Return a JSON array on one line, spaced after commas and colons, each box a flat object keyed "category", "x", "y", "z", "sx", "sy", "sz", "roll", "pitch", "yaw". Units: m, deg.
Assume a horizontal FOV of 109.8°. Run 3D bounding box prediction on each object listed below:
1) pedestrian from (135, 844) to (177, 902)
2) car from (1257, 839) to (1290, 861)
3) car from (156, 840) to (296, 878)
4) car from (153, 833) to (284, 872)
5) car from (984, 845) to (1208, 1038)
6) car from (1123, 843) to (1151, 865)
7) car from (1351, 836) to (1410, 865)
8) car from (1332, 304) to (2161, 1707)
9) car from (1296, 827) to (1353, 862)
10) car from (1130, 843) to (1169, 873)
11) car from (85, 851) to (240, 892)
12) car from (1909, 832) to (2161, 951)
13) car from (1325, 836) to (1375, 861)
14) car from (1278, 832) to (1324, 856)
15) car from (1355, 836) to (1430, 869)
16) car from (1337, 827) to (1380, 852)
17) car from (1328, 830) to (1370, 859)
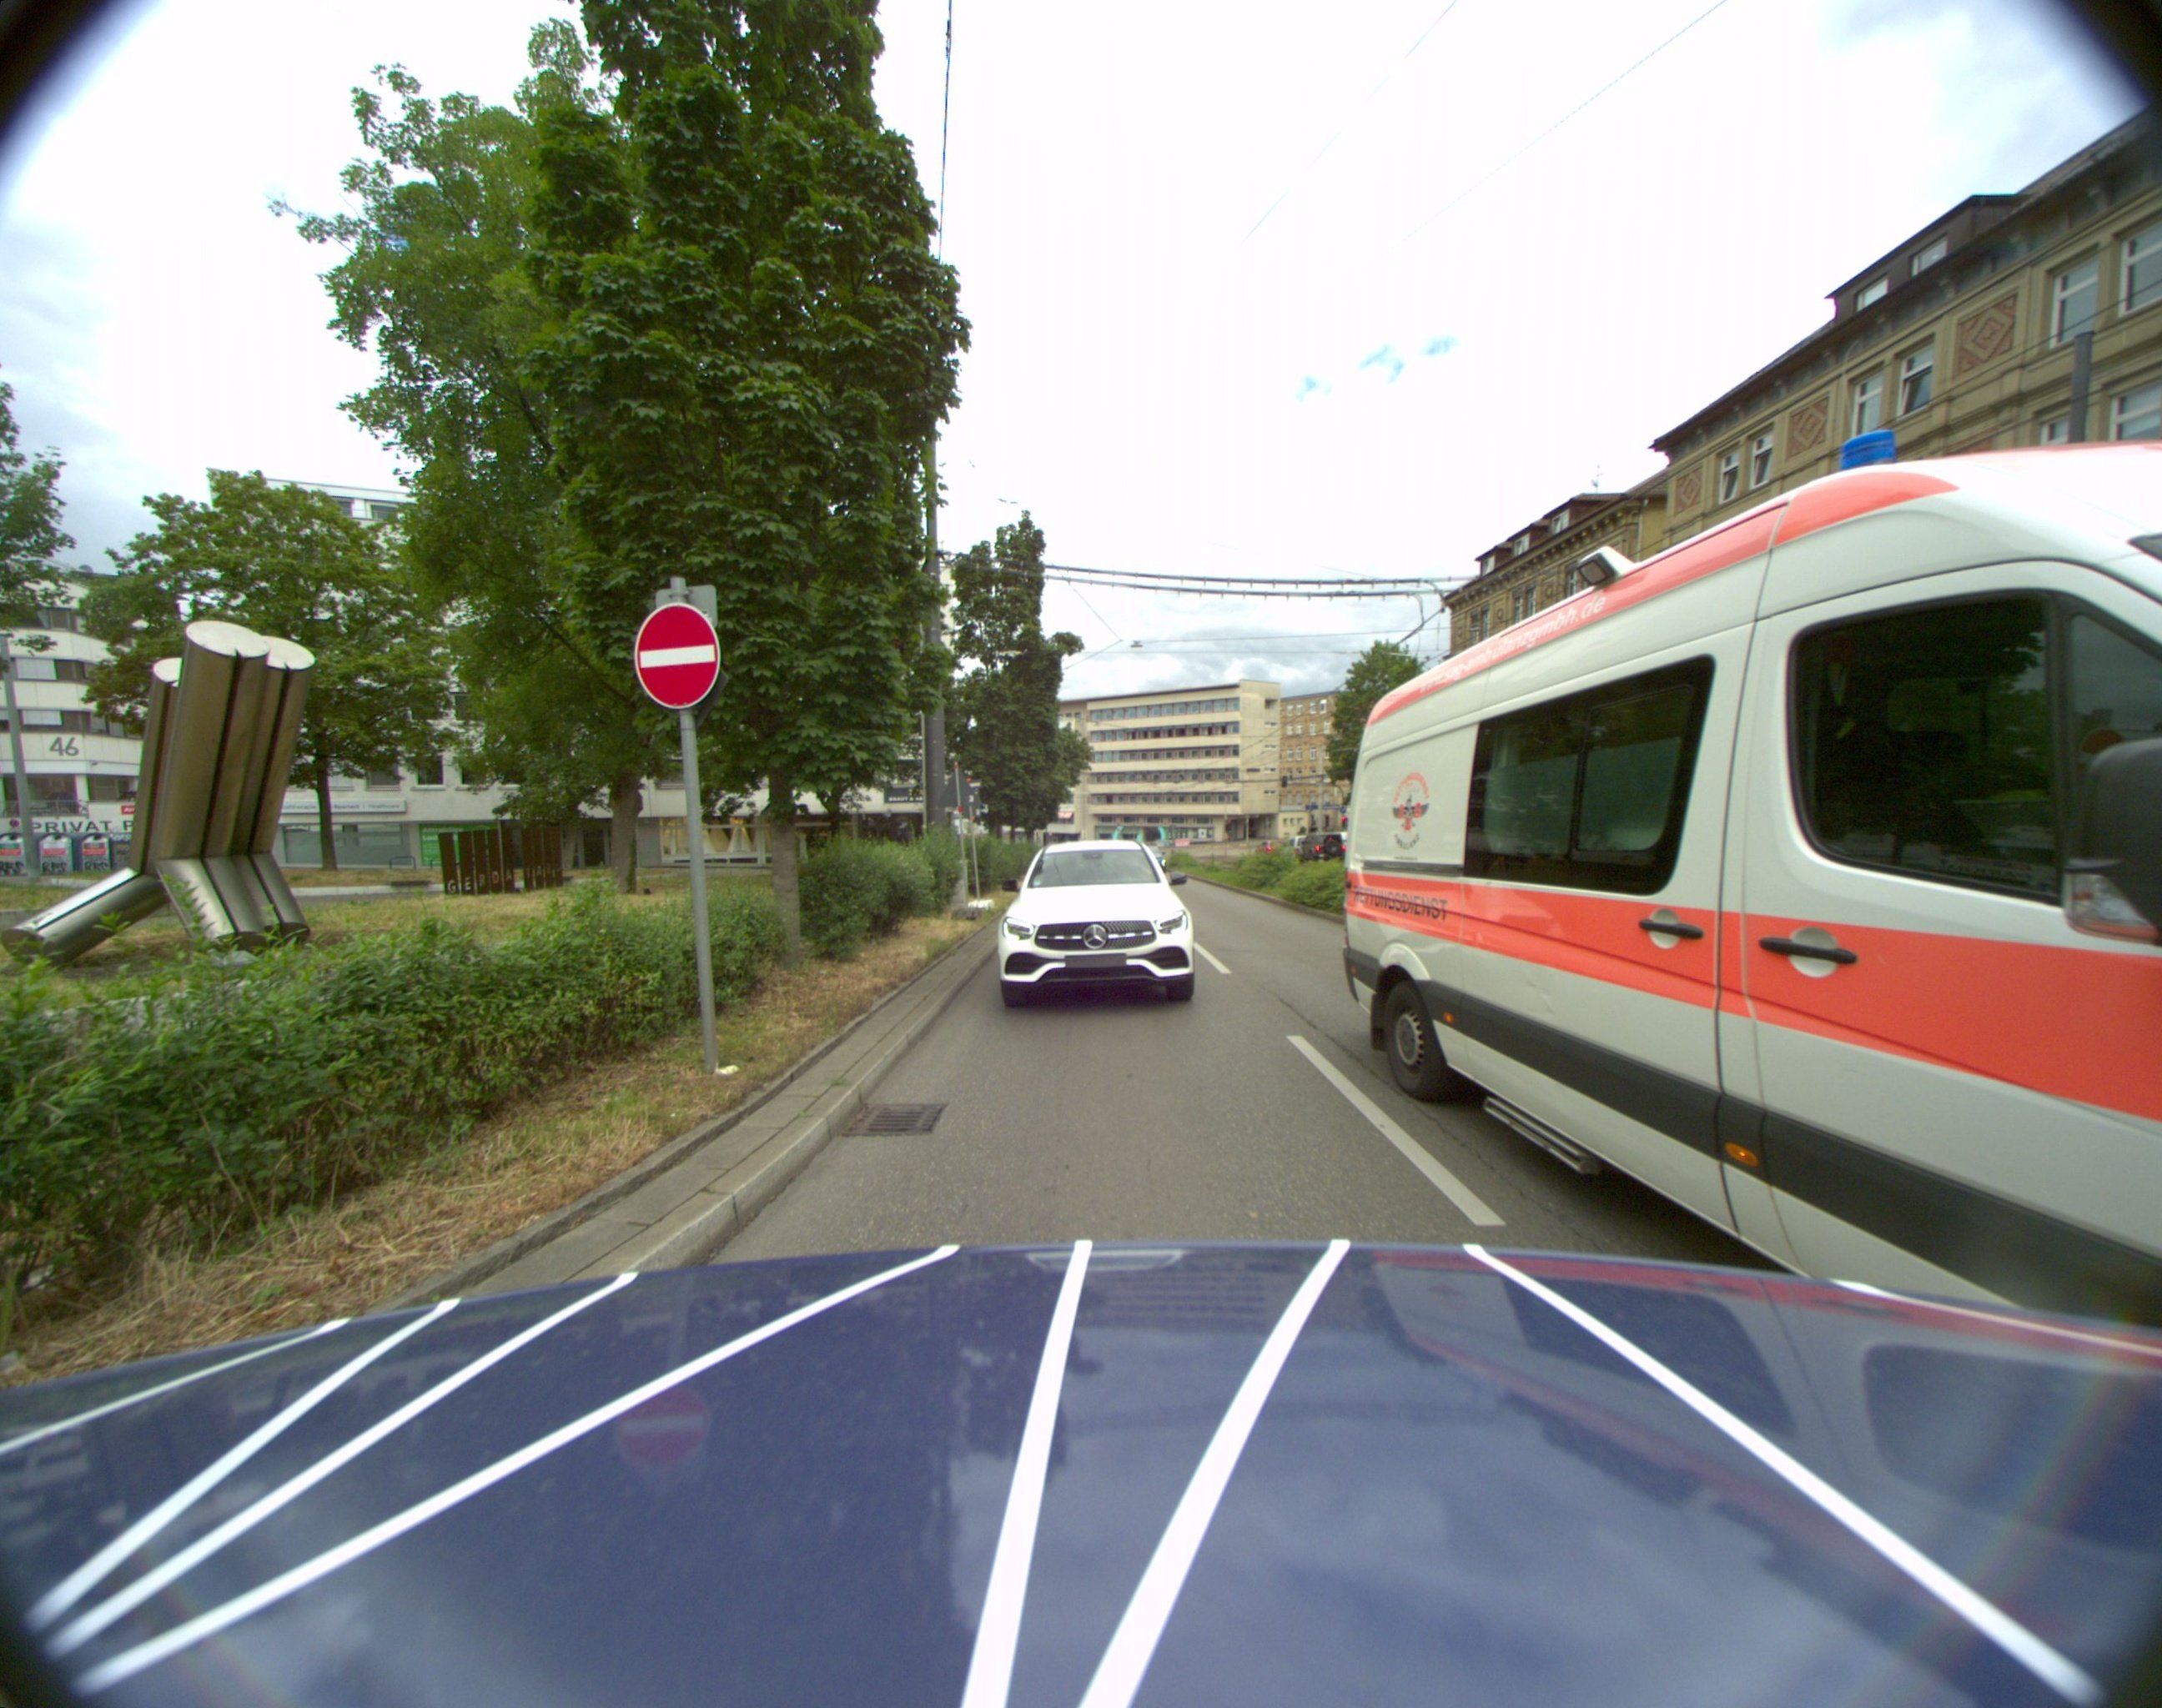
[{"category": "pedestrian", "x": -24.641, "y": 0.490, "z": 20.243, "sx": 0.672, "sy": 1.525, "sz": 0.529, "roll": 0, "pitch": 2, "yaw": 27}, {"category": "car", "x": 14.475, "y": -0.351, "z": 57.273, "sx": 1.681, "sy": 1.620, "sz": 3.843, "roll": 0, "pitch": 1, "yaw": 2}, {"category": "car", "x": -40.515, "y": 0.214, "z": 36.112, "sx": 4.000, "sy": 1.707, "sz": 1.998, "roll": 0, "pitch": 1, "yaw": -9}, {"category": "car", "x": -42.914, "y": -0.112, "z": 37.880, "sx": 4.001, "sy": 1.677, "sz": 1.687, "roll": -3, "pitch": 2, "yaw": -12}, {"category": "car", "x": 0.115, "y": 0.729, "z": 8.777, "sx": 1.894, "sy": 1.610, "sz": 4.477, "roll": -1, "pitch": 1, "yaw": 0}, {"category": "car", "x": 4.163, "y": -0.008, "z": 57.035, "sx": 1.998, "sy": 1.543, "sz": 4.318, "roll": 0, "pitch": 1, "yaw": 4}, {"category": "car", "x": 17.095, "y": -0.223, "z": 43.555, "sx": 1.758, "sy": 1.561, "sz": 3.999, "roll": 0, "pitch": 1, "yaw": -1}, {"category": "car", "x": 2.806, "y": 0.418, "z": 2.593, "sx": 2.038, "sy": 2.684, "sz": 5.853, "roll": -1, "pitch": 1, "yaw": 1}, {"category": "car", "x": 14.593, "y": -0.591, "z": 45.817, "sx": 2.147, "sy": 2.002, "sz": 4.747, "roll": 0, "pitch": 1, "yaw": 4}, {"category": "car", "x": 3.841, "y": 0.181, "z": 43.173, "sx": 1.930, "sy": 1.563, "sz": 4.180, "roll": -3, "pitch": 1, "yaw": 2}, {"category": "car", "x": -40.707, "y": 0.750, "z": 33.783, "sx": 4.000, "sy": 1.707, "sz": 1.998, "roll": 0, "pitch": 1, "yaw": -9}, {"category": "car", "x": 14.638, "y": 0.450, "z": 10.613, "sx": 1.871, "sy": 1.510, "sz": 3.950, "roll": 0, "pitch": 1, "yaw": 2}, {"category": "car", "x": 17.131, "y": -0.384, "z": 48.557, "sx": 1.888, "sy": 1.502, "sz": 3.999, "roll": 0, "pitch": 1, "yaw": 1}, {"category": "car", "x": 14.660, "y": -0.685, "z": 50.802, "sx": 1.998, "sy": 1.575, "sz": 3.999, "roll": 0, "pitch": 1, "yaw": 1}, {"category": "car", "x": 14.683, "y": -0.113, "z": 36.055, "sx": 1.899, "sy": 1.487, "sz": 3.999, "roll": 0, "pitch": 1, "yaw": 0}, {"category": "car", "x": 21.905, "y": -1.141, "z": 60.180, "sx": 1.848, "sy": 1.905, "sz": 3.998, "roll": 0, "pitch": 1, "yaw": -2}, {"category": "car", "x": 19.807, "y": -0.715, "z": 56.307, "sx": 1.794, "sy": 2.109, "sz": 3.916, "roll": 0, "pitch": 1, "yaw": 1}]
